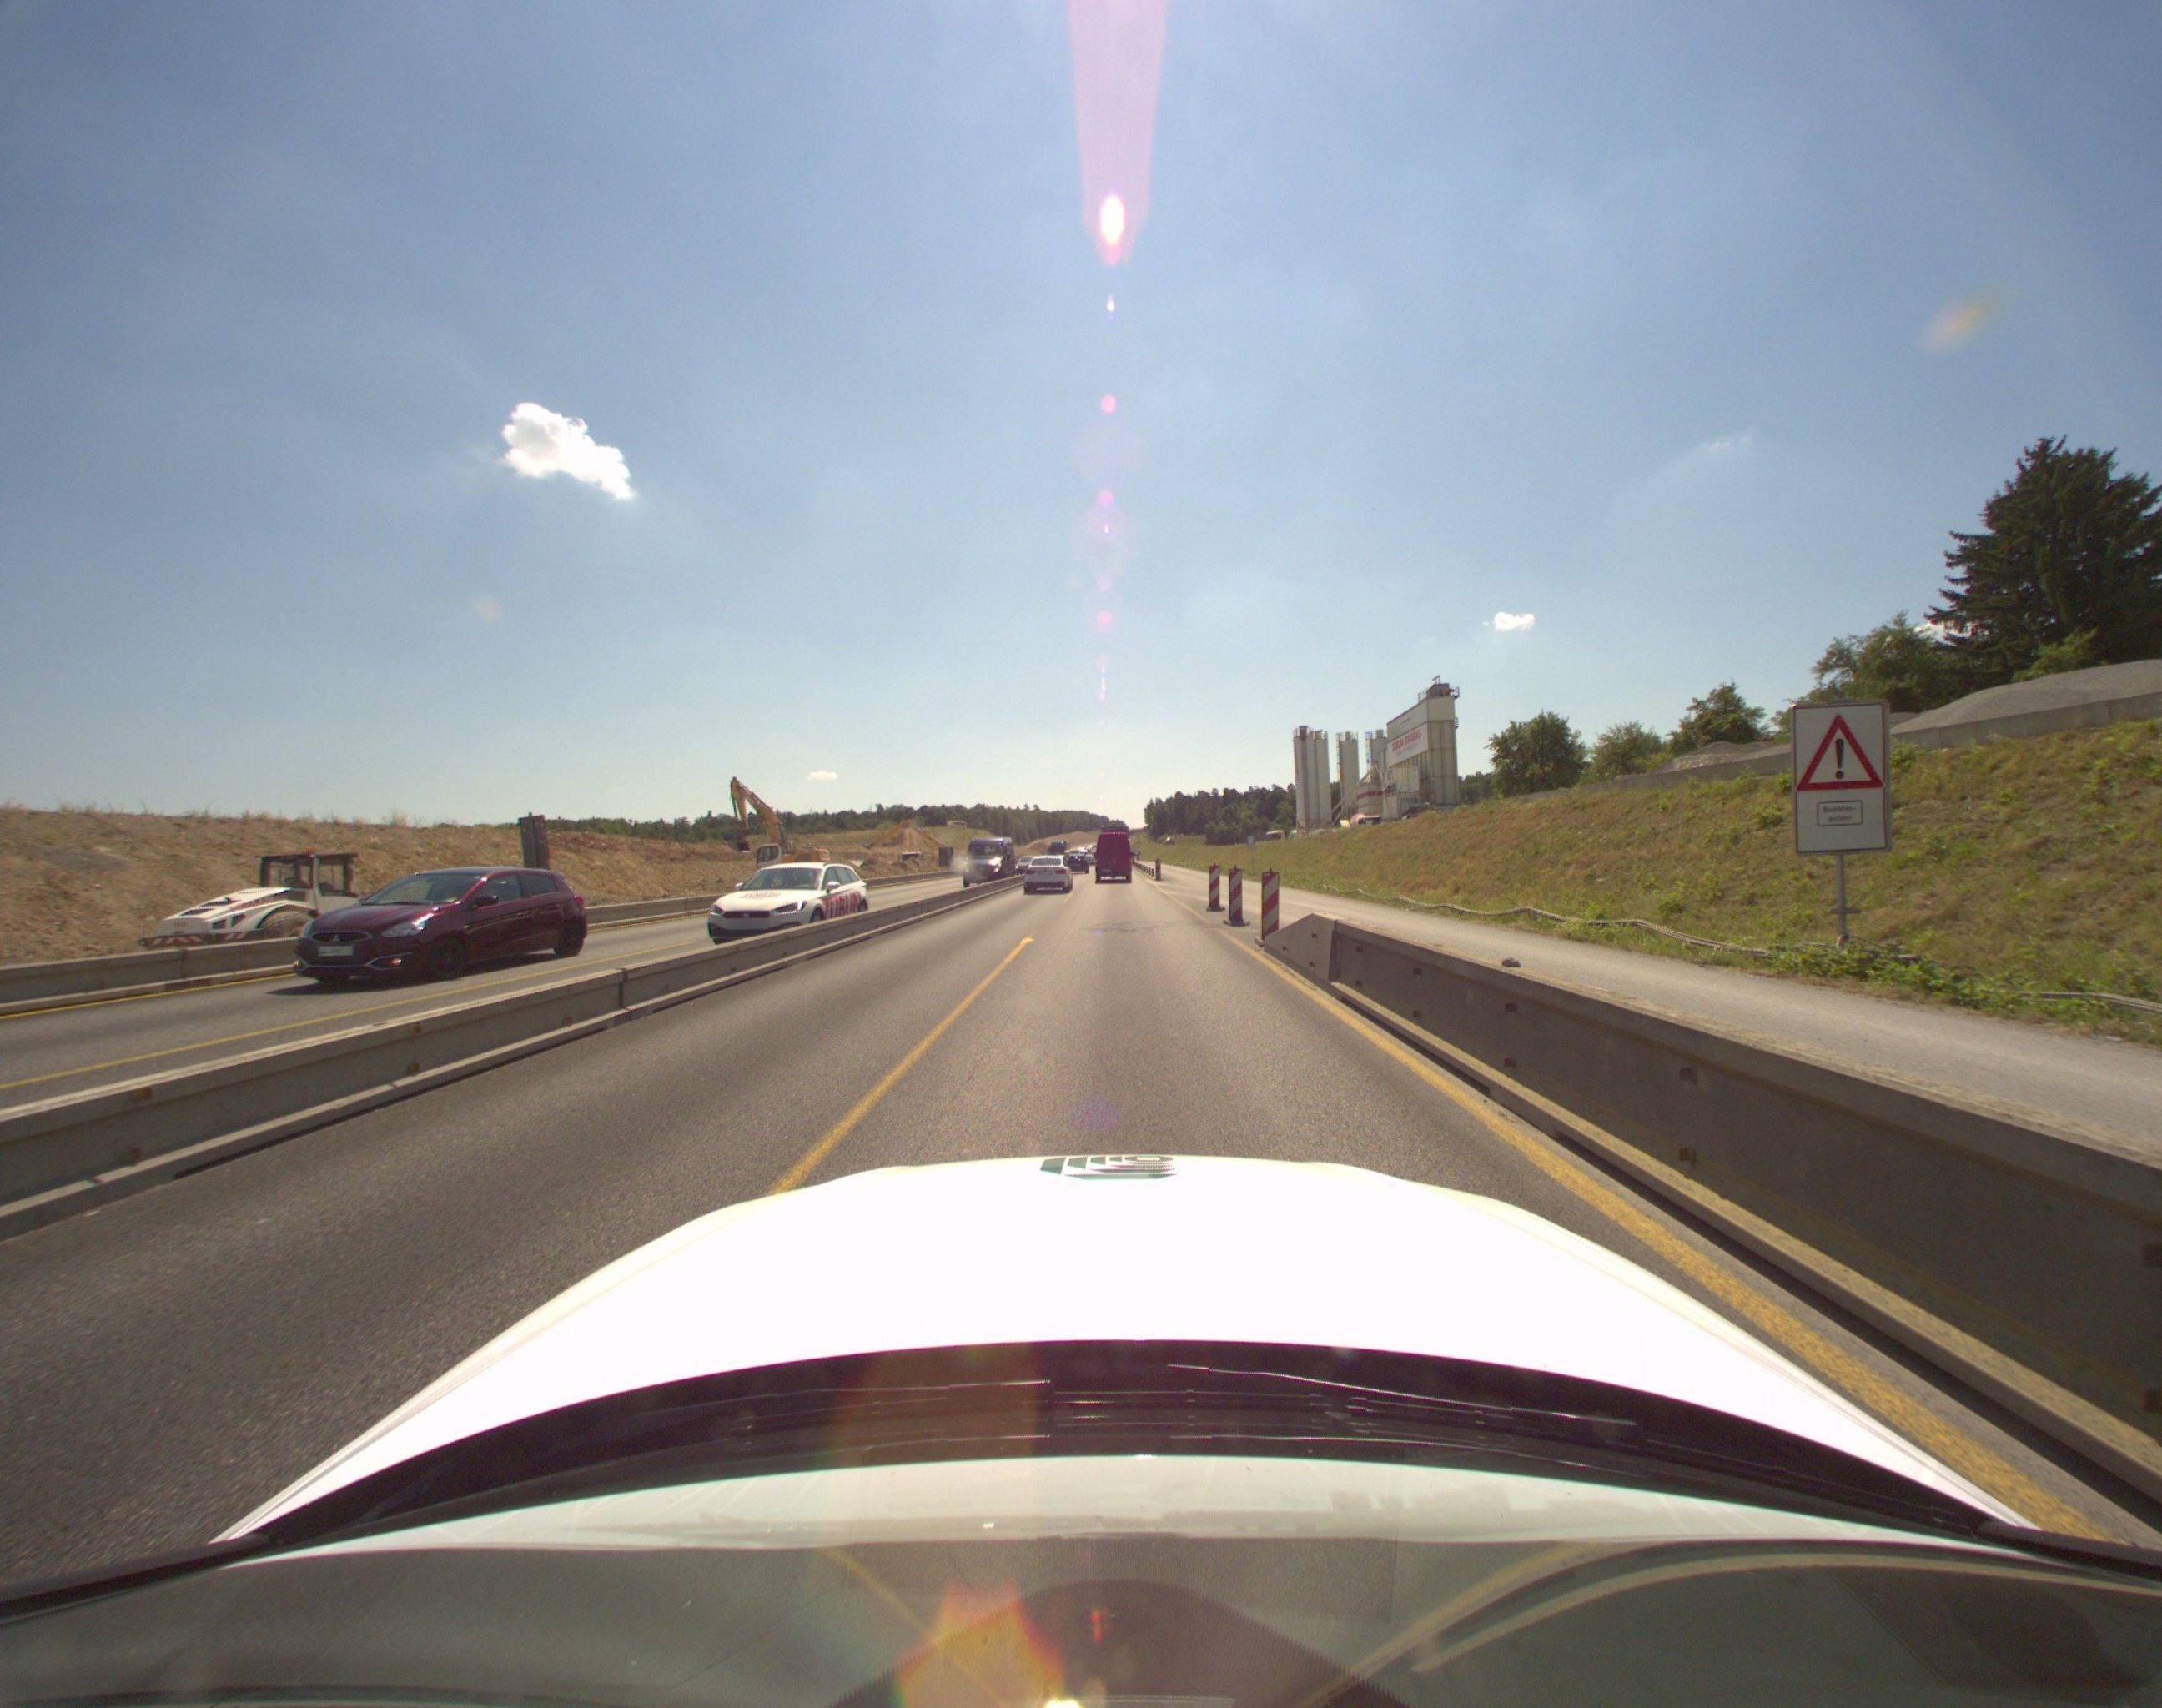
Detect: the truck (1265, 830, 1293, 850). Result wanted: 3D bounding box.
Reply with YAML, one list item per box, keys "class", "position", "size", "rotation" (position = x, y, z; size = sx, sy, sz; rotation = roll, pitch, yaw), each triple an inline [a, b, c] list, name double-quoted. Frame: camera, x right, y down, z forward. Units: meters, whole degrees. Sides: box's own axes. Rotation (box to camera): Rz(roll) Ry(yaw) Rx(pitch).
- class: "truck"
  position: [31.035, -2.182, 127.572]
  size: [2.869, 3.113, 6.048]
  rotation: [-2, 0, 26]

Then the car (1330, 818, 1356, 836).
- class: "car"
  position: [32.345, -3.288, 100.596]
  size: [1.986, 2.013, 4.430]
  rotation: [-2, 0, 2]

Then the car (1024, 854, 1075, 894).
- class: "car"
  position: [-1.253, 0.770, 34.113]
  size: [1.788, 1.534, 5.074]
  rotation: [-1, 0, 1]

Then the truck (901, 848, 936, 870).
- class: "truck"
  position: [-20.431, 0.632, 102.956]
  size: [2.306, 2.617, 8.415]
  rotation: [-2, 0, 2]

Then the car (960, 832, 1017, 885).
- class: "car"
  position: [-4.609, 0.224, 41.352]
  size: [1.948, 2.468, 5.360]
  rotation: [-2, 0, 2]

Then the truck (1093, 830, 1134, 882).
- class: "truck"
  position: [1.891, 0.100, 46.107]
  size: [2.103, 2.633, 6.490]
  rotation: [-2, 0, 3]

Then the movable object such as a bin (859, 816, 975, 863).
- class: "movable object such as a bin"
  position: [-27.617, -2.427, 138.001]
  size: [18.650, 7.231, 3.615]
  rotation: [-2, 0, 0]

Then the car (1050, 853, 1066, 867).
- class: "car"
  position: [-2.736, 0.686, 97.276]
  size: [1.596, 1.580, 4.170]
  rotation: [-2, 0, 2]

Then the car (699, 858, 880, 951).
- class: "car"
  position: [-5.335, 0.843, 15.643]
  size: [1.672, 1.442, 4.672]
  rotation: [-2, 0, 1]

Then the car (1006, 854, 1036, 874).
- class: "car"
  position: [-4.675, 0.746, 63.953]
  size: [1.779, 1.476, 4.527]
  rotation: [0, 0, 2]

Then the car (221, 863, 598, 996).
- class: "car"
  position: [-8.998, 0.892, 11.493]
  size: [1.645, 1.442, 4.229]
  rotation: [-2, 0, 3]

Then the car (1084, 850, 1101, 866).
- class: "car"
  position: [1.550, 0.485, 104.739]
  size: [1.985, 2.013, 4.003]
  rotation: [-2, 0, 3]

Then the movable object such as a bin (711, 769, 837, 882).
- class: "movable object such as a bin"
  position: [-22.216, -2.003, 59.317]
  size: [7.604, 7.713, 3.449]
  rotation: [-2, 0, 3]

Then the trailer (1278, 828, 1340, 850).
- class: "trailer"
  position: [36.300, -2.444, 129.564]
  size: [9.005, 3.229, 3.317]
  rotation: [-2, 0, -13]

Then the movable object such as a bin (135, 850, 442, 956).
- class: "movable object such as a bin"
  position: [-21.455, 1.161, 22.704]
  size: [1.695, 2.461, 6.748]
  rotation: [-2, 0, 2]

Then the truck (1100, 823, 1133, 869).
- class: "truck"
  position: [3.535, -0.736, 79.850]
  size: [3.003, 4.153, 8.279]
  rotation: [-2, 0, 3]

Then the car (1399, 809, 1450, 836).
- class: "car"
  position: [28.657, -2.561, 68.124]
  size: [2.214, 2.013, 4.996]
  rotation: [-2, 0, 2]

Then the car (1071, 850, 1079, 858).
- class: "car"
  position: [-1.426, -0.030, 201.771]
  size: [1.756, 2.013, 3.829]
  rotation: [-2, 0, 2]

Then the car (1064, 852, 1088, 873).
- class: "car"
  position: [-0.361, 0.655, 65.324]
  size: [1.789, 1.534, 3.932]
  rotation: [-2, 0, 1]

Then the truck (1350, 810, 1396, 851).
- class: "truck"
  position: [32.939, -2.555, 92.196]
  size: [3.413, 4.296, 9.959]
  rotation: [-2, 0, 12]

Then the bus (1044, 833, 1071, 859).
- class: "bus"
  position: [-4.178, -1.475, 150.414]
  size: [3.928, 4.415, 17.206]
  rotation: [-2, 0, 2]

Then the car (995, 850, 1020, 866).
- class: "car"
  position: [-6.853, 0.347, 76.316]
  size: [1.684, 1.433, 4.451]
  rotation: [0, 0, 2]
